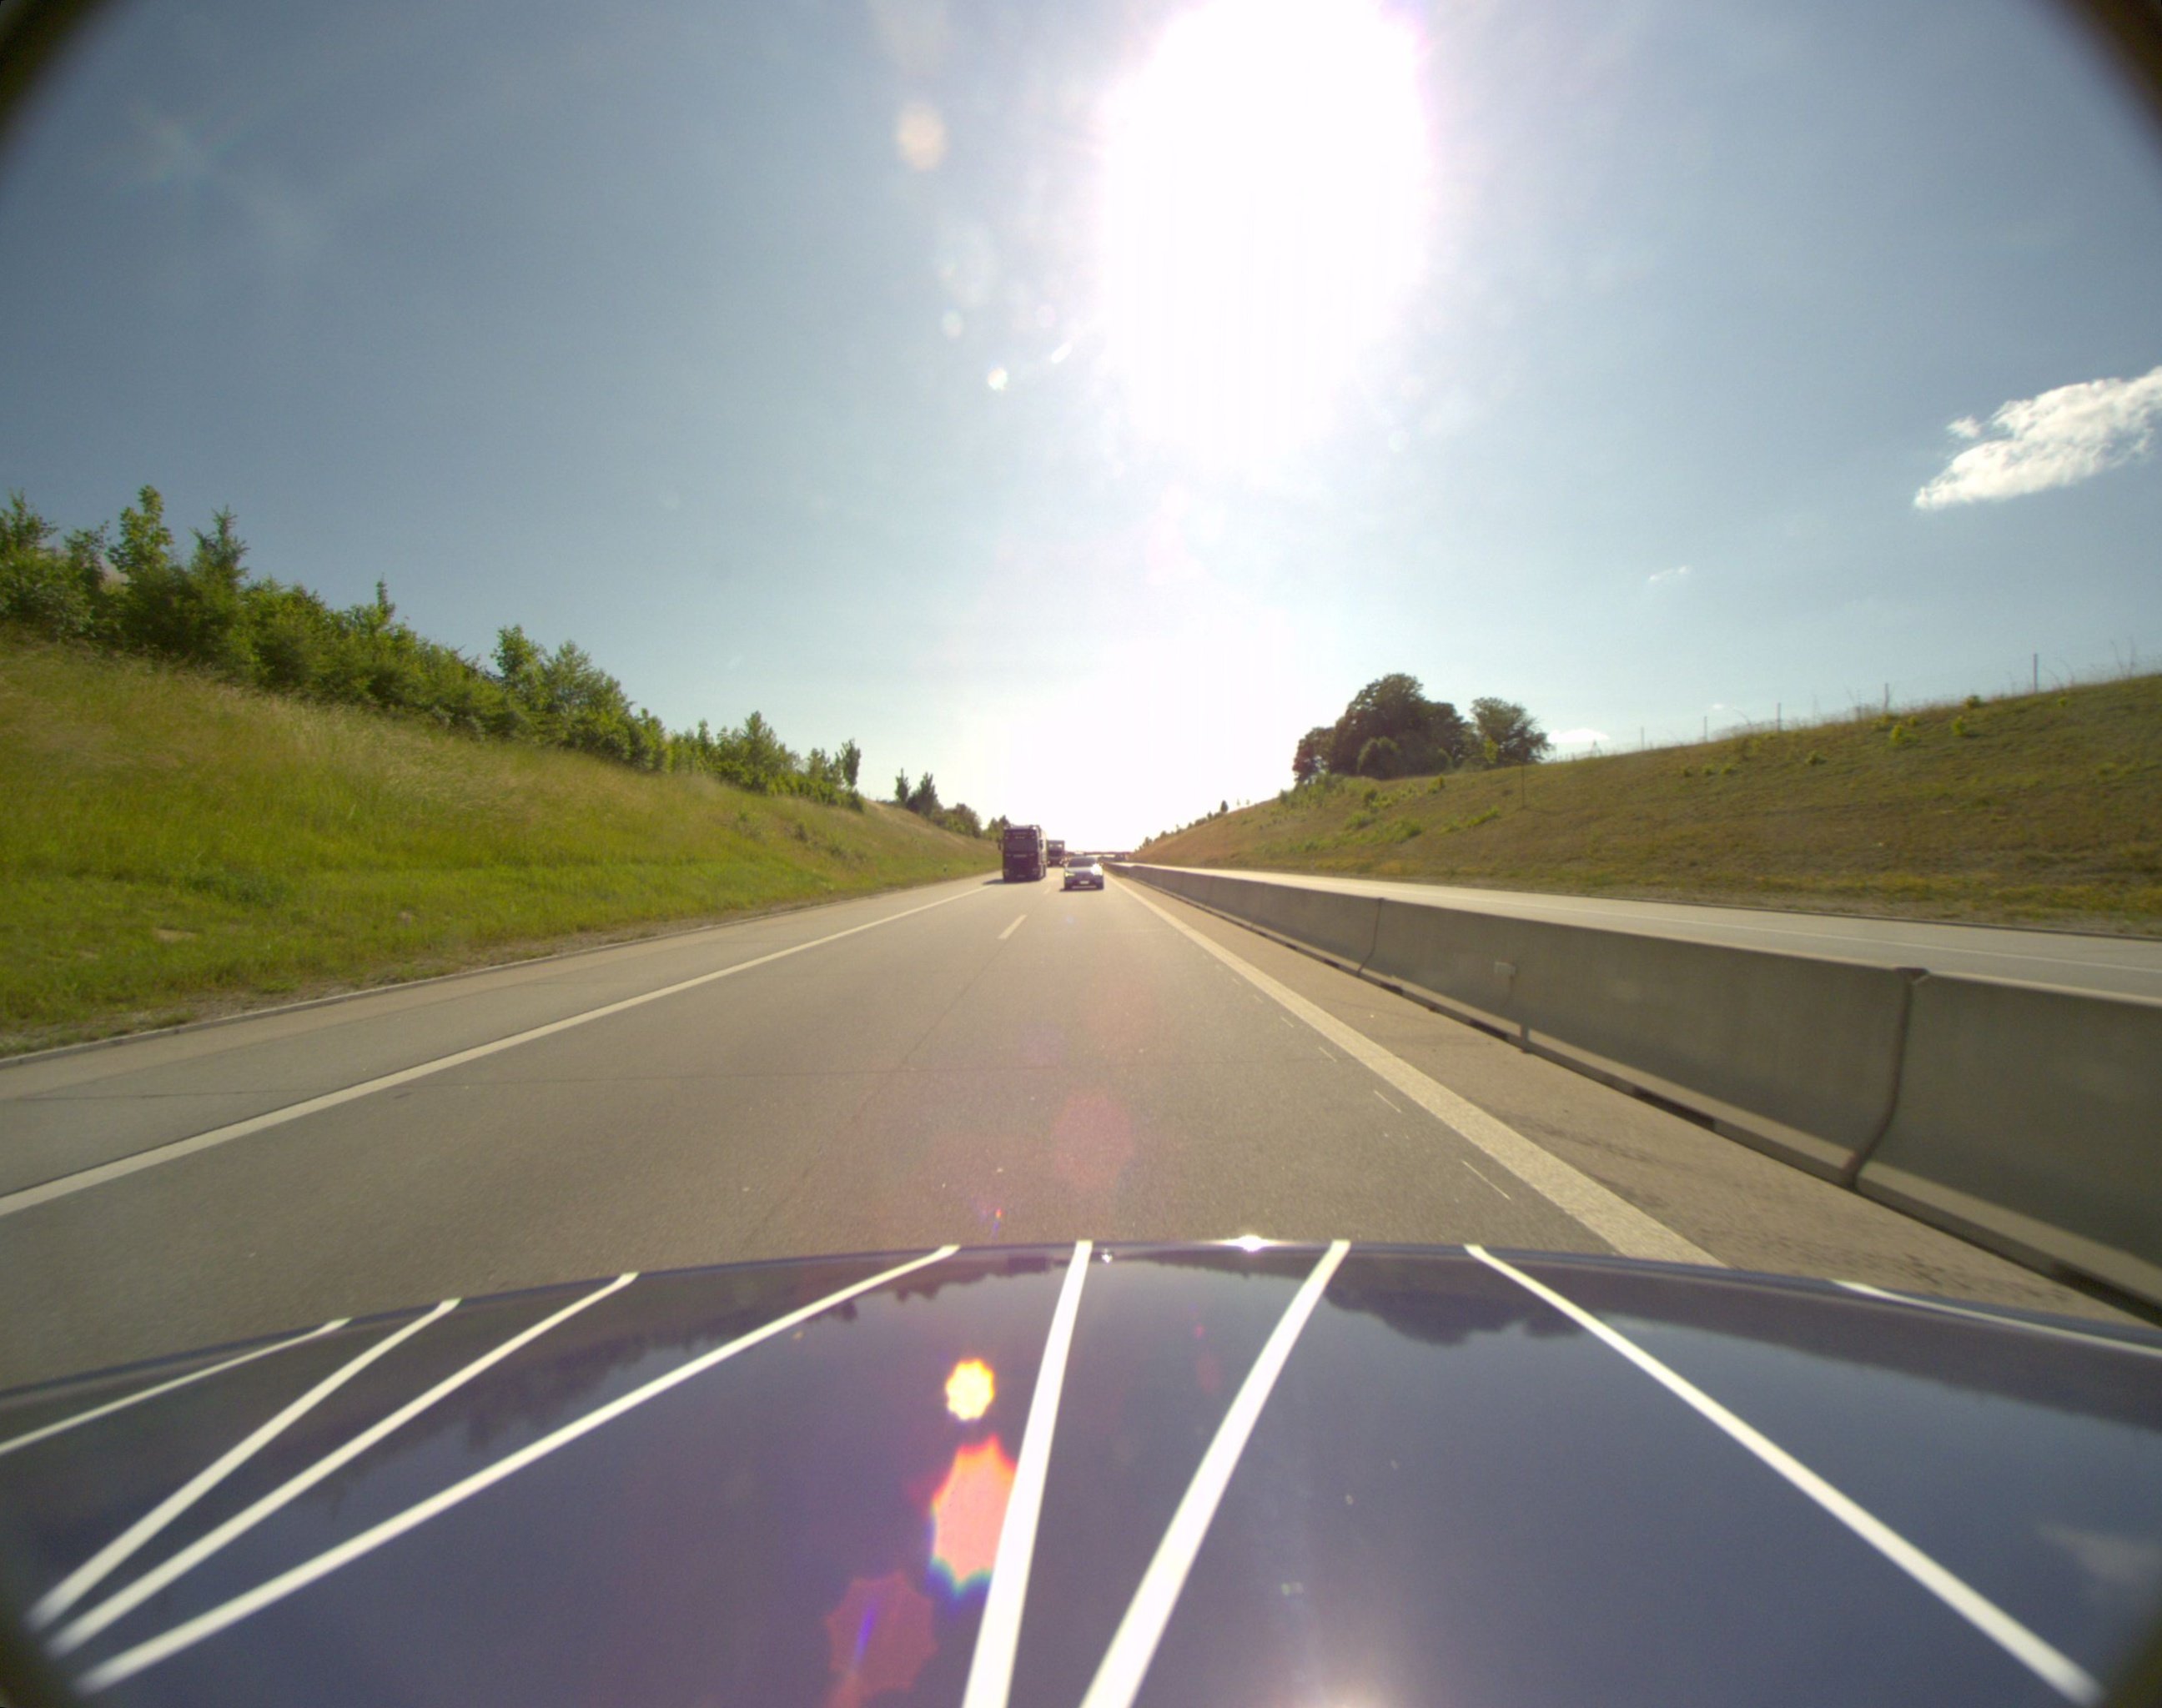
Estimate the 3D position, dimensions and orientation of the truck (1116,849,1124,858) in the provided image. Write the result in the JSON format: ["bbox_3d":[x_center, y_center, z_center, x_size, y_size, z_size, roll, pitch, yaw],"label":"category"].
[{"bbox_3d":[11.189,-0.155,219.265,1.999,2.434,5.667,-2,0,0],"label":"truck"}]

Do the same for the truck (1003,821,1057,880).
[{"bbox_3d":[-3.540,-0.259,56.399,2.623,3.795,13.404,-2,0,2],"label":"truck"}]

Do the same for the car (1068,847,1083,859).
[{"bbox_3d":[-1.030,-0.216,141.386,2.816,2.143,5.947,1,0,0],"label":"car"}]

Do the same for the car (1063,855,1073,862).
[{"bbox_3d":[-2.741,0.877,159.515,1.708,1.433,3.633,1,0,-4],"label":"car"}]

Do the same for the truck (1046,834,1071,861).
[{"bbox_3d":[-3.283,-0.986,115.689,3.024,3.795,13.404,1,0,2],"label":"truck"}]

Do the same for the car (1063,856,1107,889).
[{"bbox_3d":[0.243,0.847,36.422,1.794,1.501,3.636,-1,0,4],"label":"car"}]
